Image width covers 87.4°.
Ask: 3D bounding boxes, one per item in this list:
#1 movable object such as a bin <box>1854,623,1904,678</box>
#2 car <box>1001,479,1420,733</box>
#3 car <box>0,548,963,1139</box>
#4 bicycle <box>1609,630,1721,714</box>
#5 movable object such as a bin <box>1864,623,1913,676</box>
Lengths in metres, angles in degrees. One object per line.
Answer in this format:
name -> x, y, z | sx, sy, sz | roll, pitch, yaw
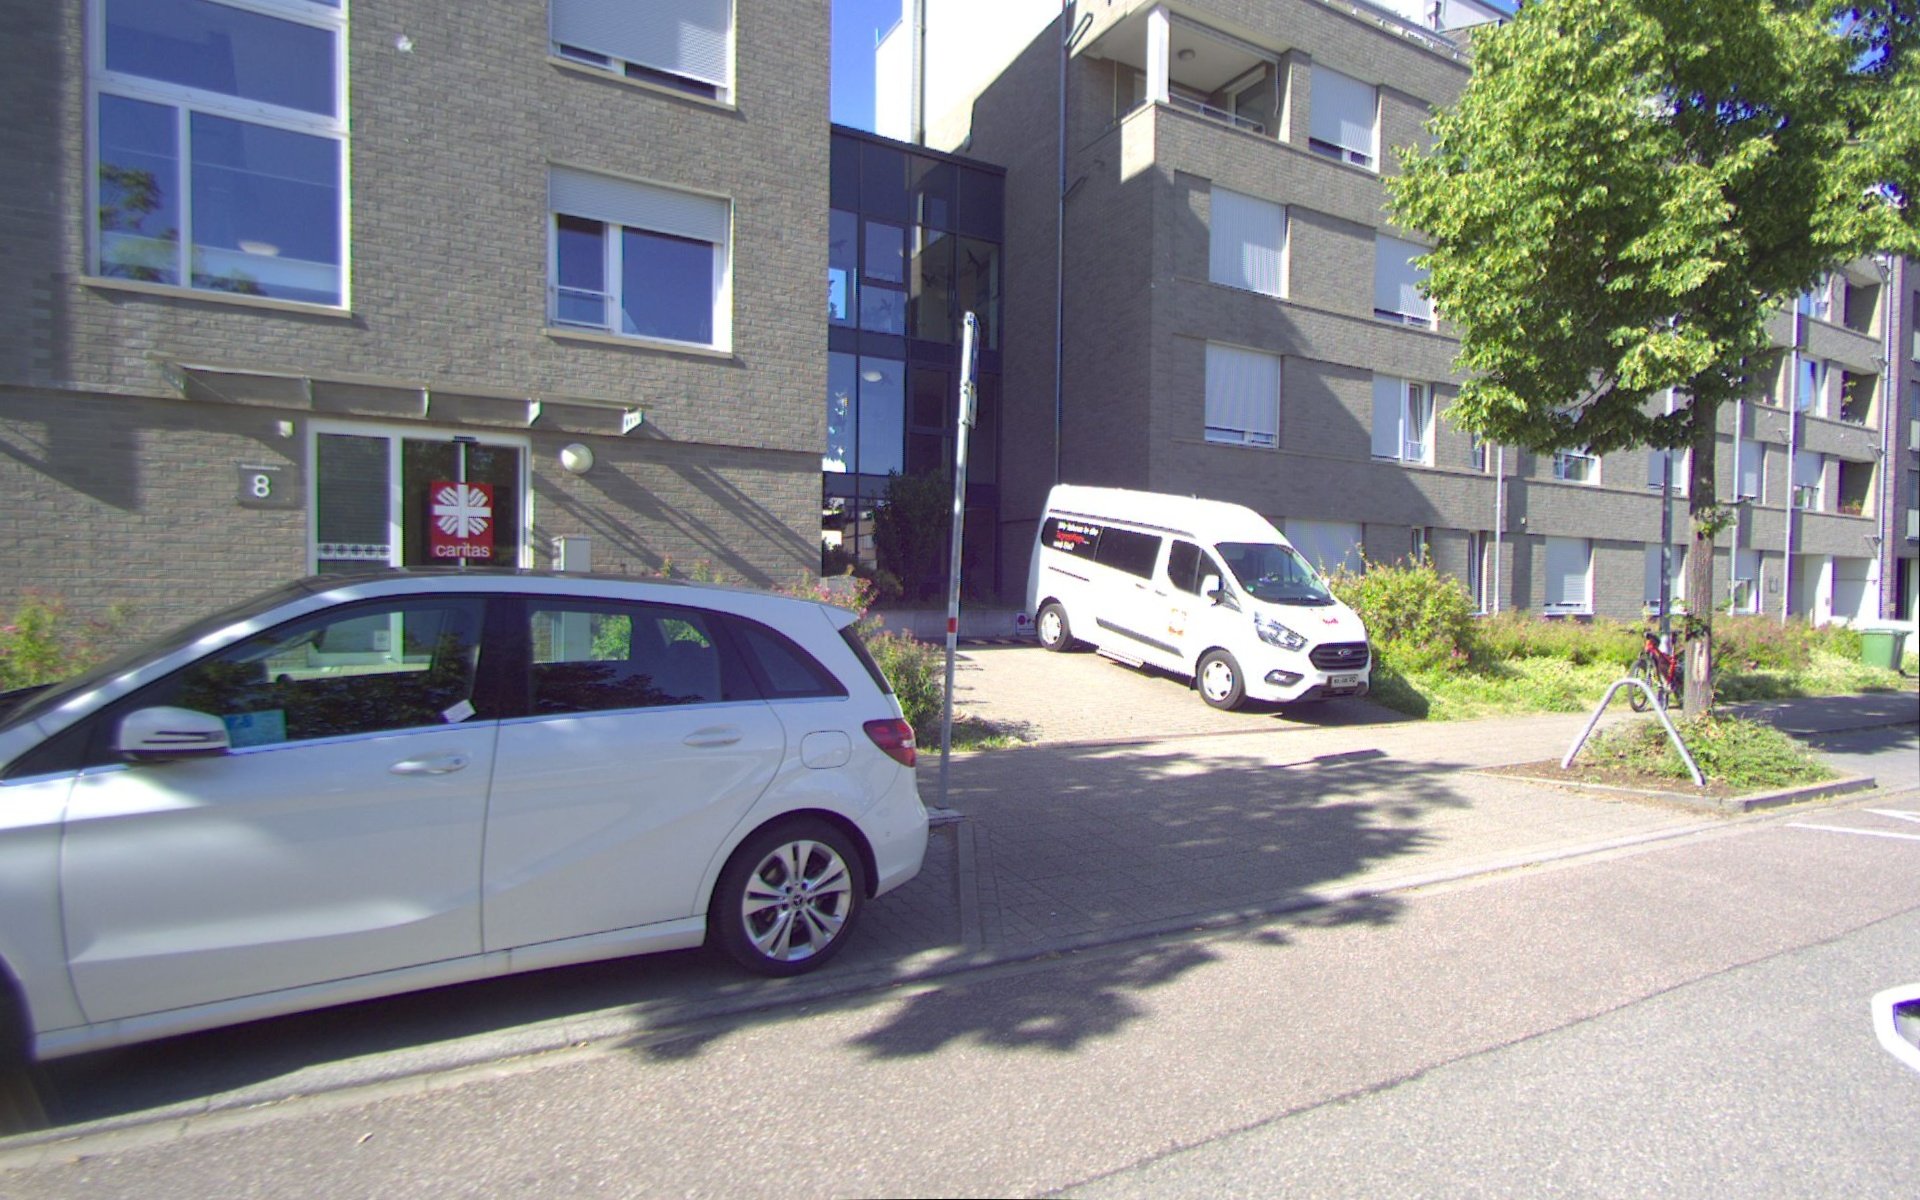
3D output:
movable object such as a bin -> 19.317, 1.052, 21.115 | 0.629, 1.105, 0.604 | -1, 1, -31
car -> 2.948, -0.178, 13.394 | 1.901, 2.415, 5.414 | 1, 8, -32
car -> -2.208, 0.640, 3.825 | 4.241, 1.553, 1.649 | 1, 0, -33
bicycle -> 9.918, 0.993, 14.117 | 1.956, 1.139, 0.282 | 1, 1, -23
movable object such as a bin -> 19.925, 1.048, 21.549 | 0.629, 1.098, 0.604 | -1, 1, -31
